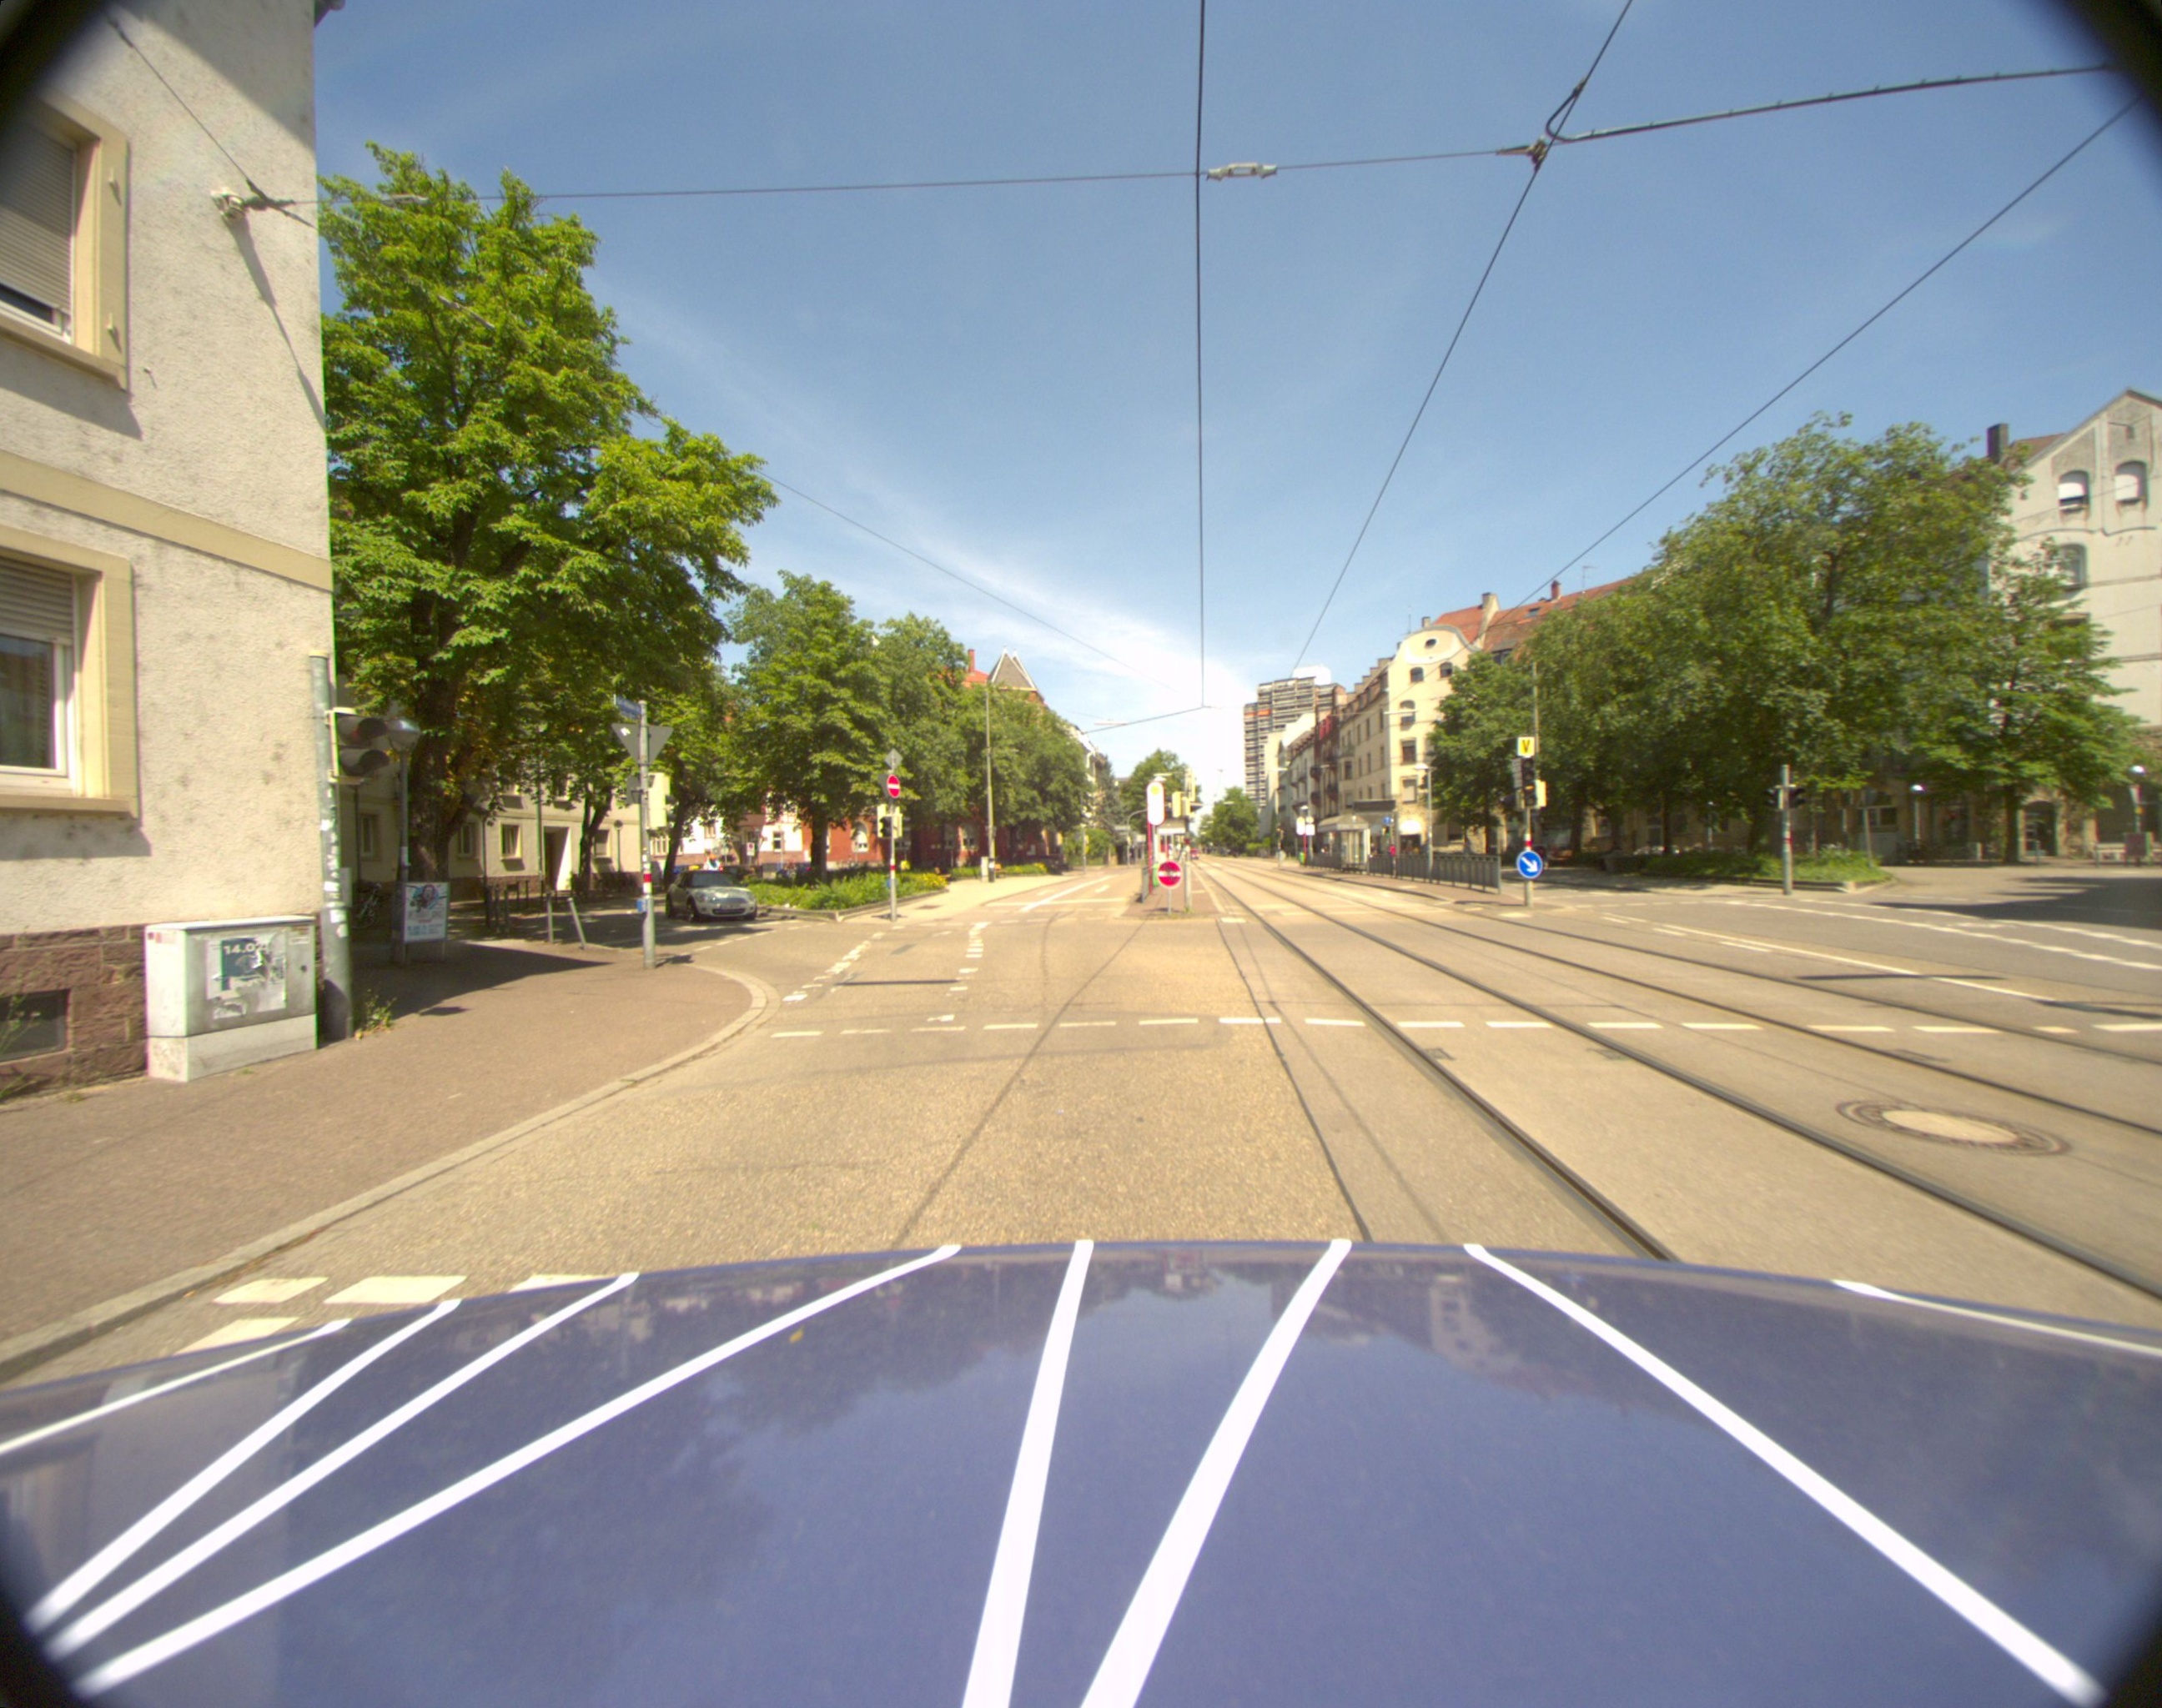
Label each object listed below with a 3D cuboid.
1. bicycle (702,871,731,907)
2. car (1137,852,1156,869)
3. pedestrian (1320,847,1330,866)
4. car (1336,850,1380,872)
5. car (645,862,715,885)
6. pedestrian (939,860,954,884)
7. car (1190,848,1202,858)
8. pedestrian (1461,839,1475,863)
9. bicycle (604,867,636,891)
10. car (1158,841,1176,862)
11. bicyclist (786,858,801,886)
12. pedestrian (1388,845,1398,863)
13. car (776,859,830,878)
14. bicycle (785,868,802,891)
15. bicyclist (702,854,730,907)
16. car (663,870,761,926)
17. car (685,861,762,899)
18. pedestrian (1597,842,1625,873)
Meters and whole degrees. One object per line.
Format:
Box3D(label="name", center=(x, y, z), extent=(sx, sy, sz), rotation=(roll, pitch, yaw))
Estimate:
Box3D(label="bicycle", center=(-12.504, 1.180, 26.039), extent=(0.682, 1.148, 1.800), rotation=(-2, 1, -32))
Box3D(label="car", center=(6.076, 0.581, 70.169), extent=(1.736, 1.543, 4.426), rotation=(-1, 0, 6))
Box3D(label="pedestrian", center=(23.079, 0.220, 71.740), extent=(0.808, 1.710, 0.764), rotation=(-1, 1, 23))
Box3D(label="car", center=(17.124, 0.412, 47.115), extent=(1.696, 1.302, 3.850), rotation=(-2, 0, 7))
Box3D(label="car", center=(-29.724, 1.431, 56.447), extent=(1.640, 1.554, 4.327), rotation=(-1, 0, 28))
Box3D(label="pedestrian", center=(-6.580, 0.860, 37.175), extent=(0.652, 1.143, 0.642), rotation=(-2, 1, -8))
Box3D(label="car", center=(18.858, -0.148, 124.421), extent=(1.736, 1.543, 4.426), rotation=(-1, 0, 6))
Box3D(label="pedestrian", center=(23.023, -0.166, 45.240), extent=(0.536, 1.433, 0.520), rotation=(-1, 1, -2))
Box3D(label="bicycle", center=(-24.326, 1.309, 40.109), extent=(0.515, 1.148, 1.933), rotation=(-2, 0, -1))
Box3D(label="car", center=(11.192, -0.350, 99.000), extent=(2.235, 2.478, 5.268), rotation=(-1, 1, 6))
Box3D(label="bicyclist", center=(-16.895, 1.065, 44.663), extent=(0.640, 1.614, 0.862), rotation=(-2, 1, -12))
Box3D(label="pedestrian", center=(24.667, -0.012, 60.156), extent=(0.536, 1.433, 0.520), rotation=(-1, 1, -2))
Box3D(label="car", center=(-23.411, 1.239, 63.956), extent=(4.308, 1.444, 1.647), rotation=(-1, 1, 27))
Box3D(label="bicycle", center=(-16.882, 1.474, 44.653), extent=(0.640, 1.285, 1.929), rotation=(-2, 0, -12))
Box3D(label="bicyclist", center=(-12.526, 0.896, 26.062), extent=(0.700, 1.756, 0.862), rotation=(-2, 1, -32))
Box3D(label="car", center=(-10.583, 1.185, 21.662), extent=(1.699, 1.437, 3.617), rotation=(1, -1, -40))
Box3D(label="car", center=(-16.454, 1.141, 35.208), extent=(1.613, 1.554, 4.066), rotation=(-2, 0, 0))
Box3D(label="pedestrian", center=(22.995, 0.157, 32.980), extent=(0.822, 1.309, 0.653), rotation=(-1, 1, 14))
